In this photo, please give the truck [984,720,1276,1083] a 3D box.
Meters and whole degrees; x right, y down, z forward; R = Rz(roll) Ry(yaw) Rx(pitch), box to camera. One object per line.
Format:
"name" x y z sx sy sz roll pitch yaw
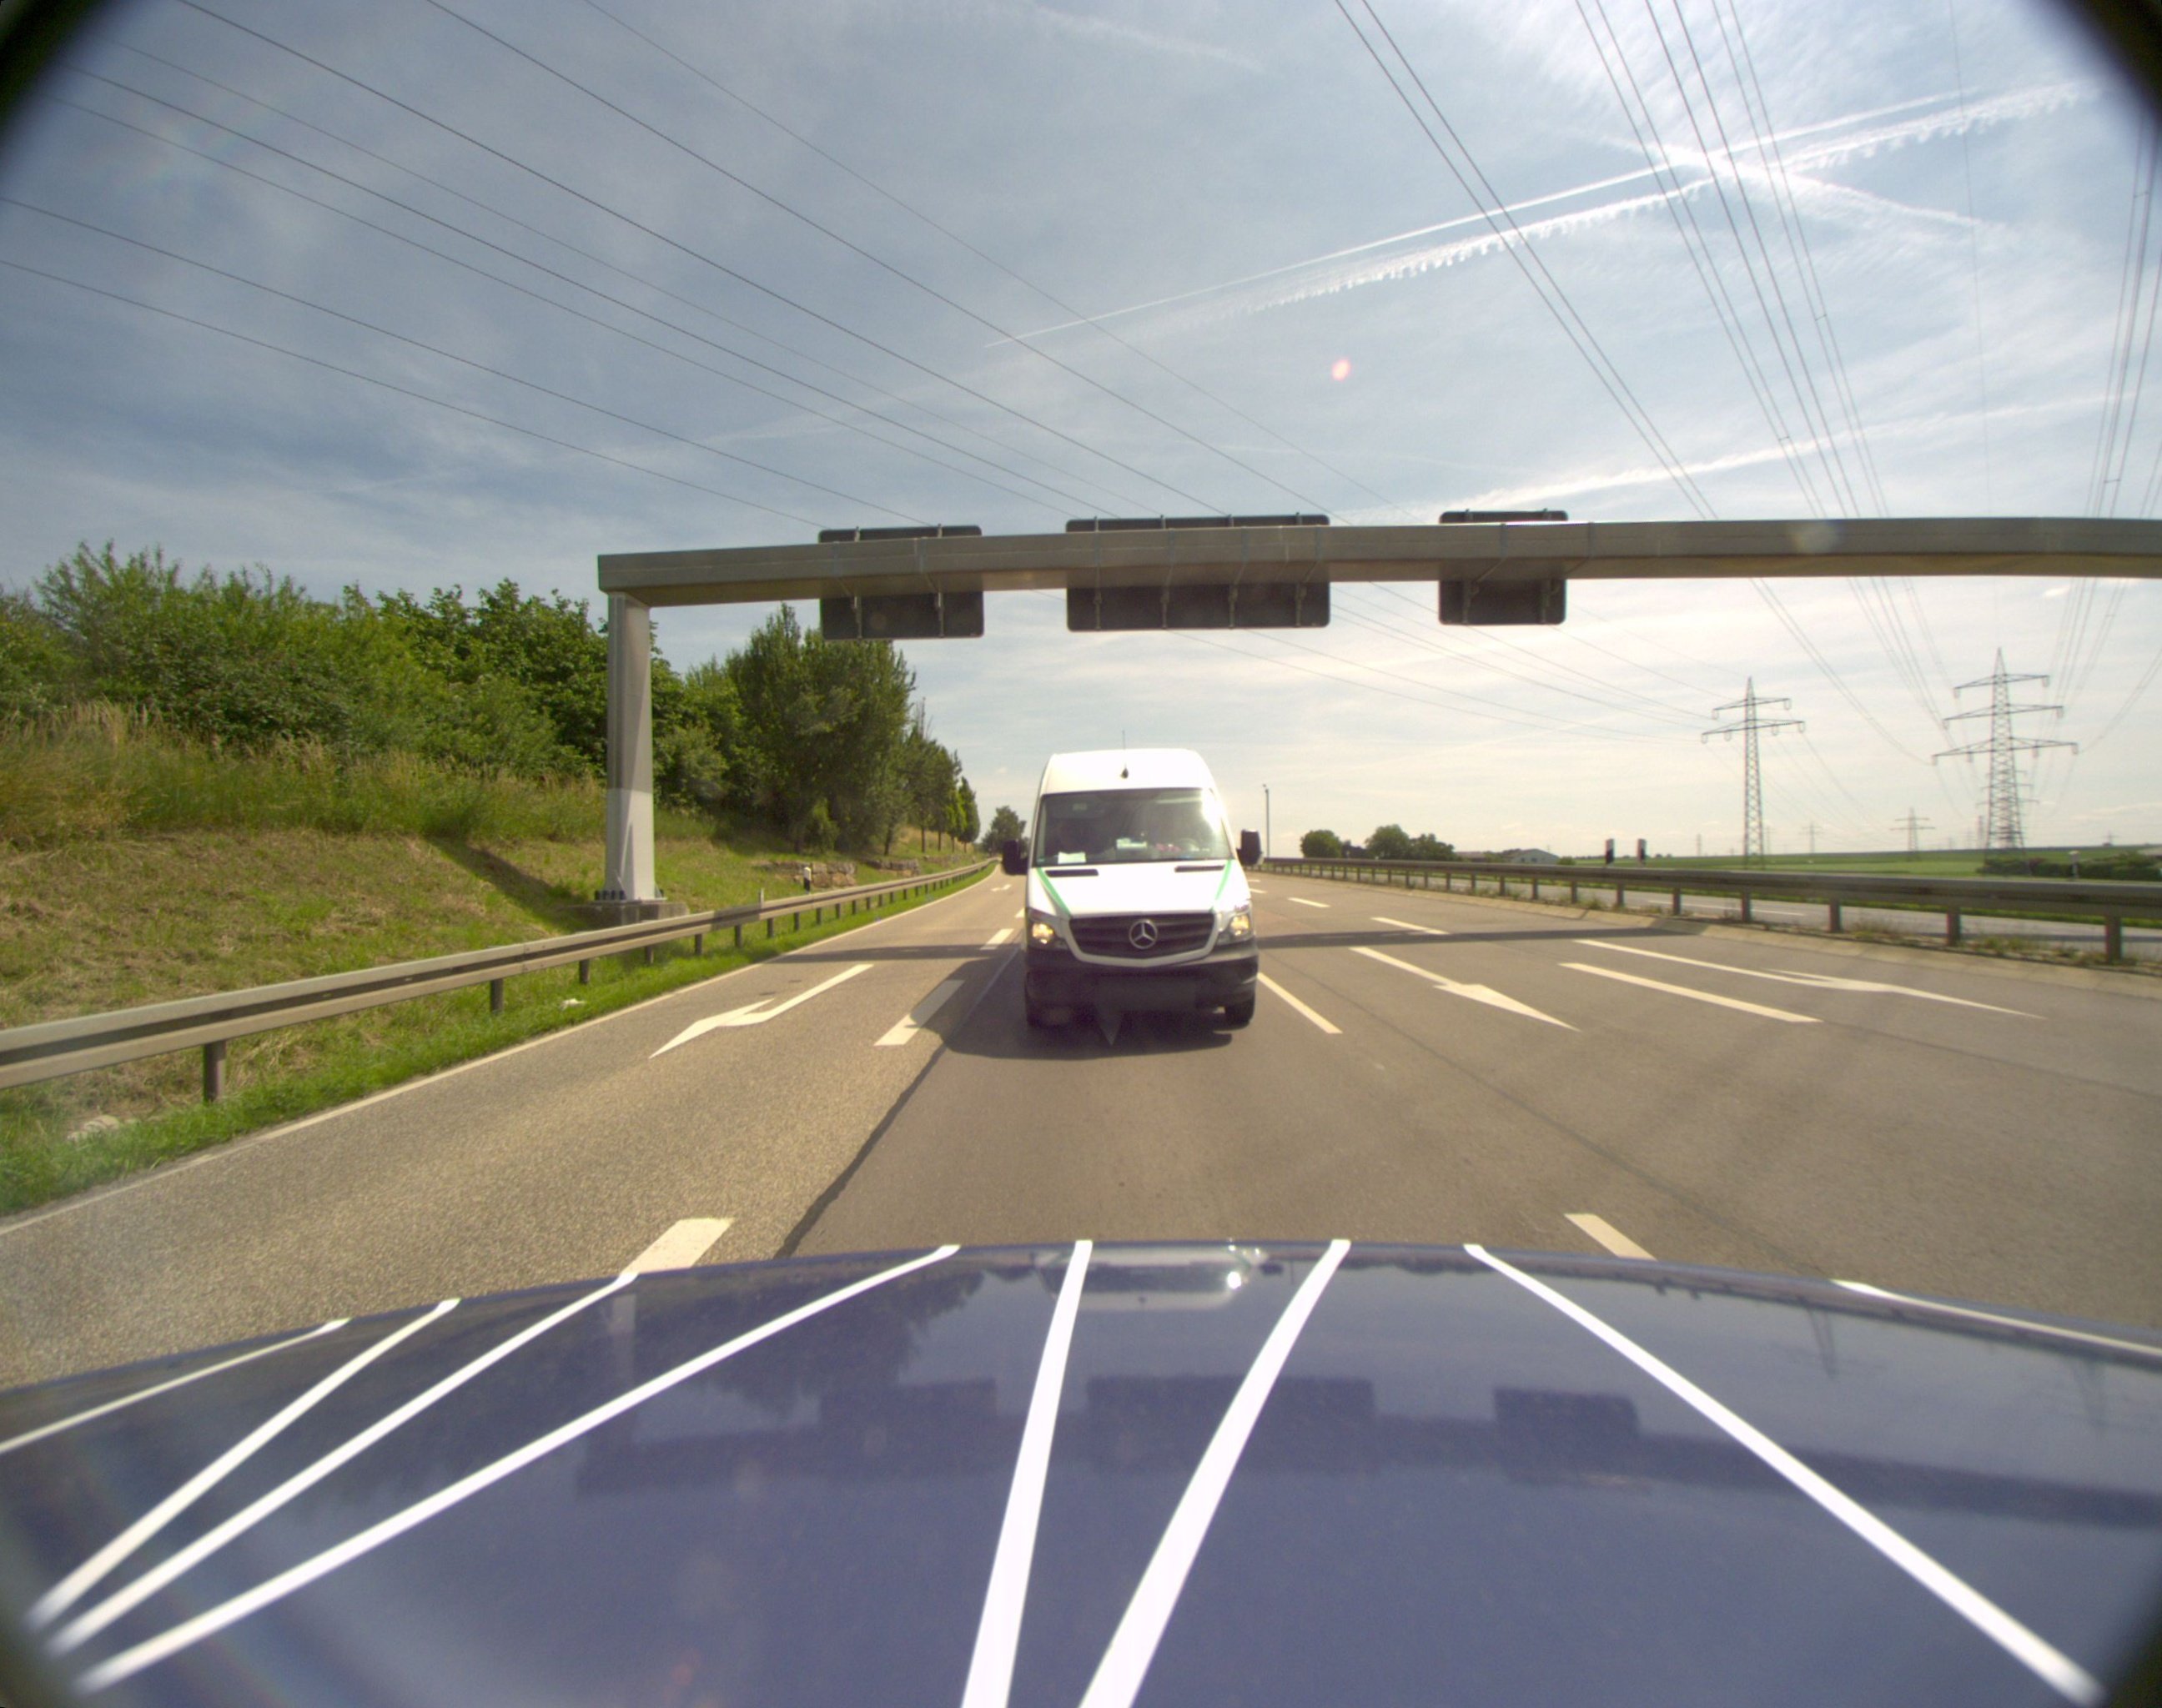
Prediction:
"truck" 0.435 0.320 7.934 1.998 2.518 5.105 -2 1 2
